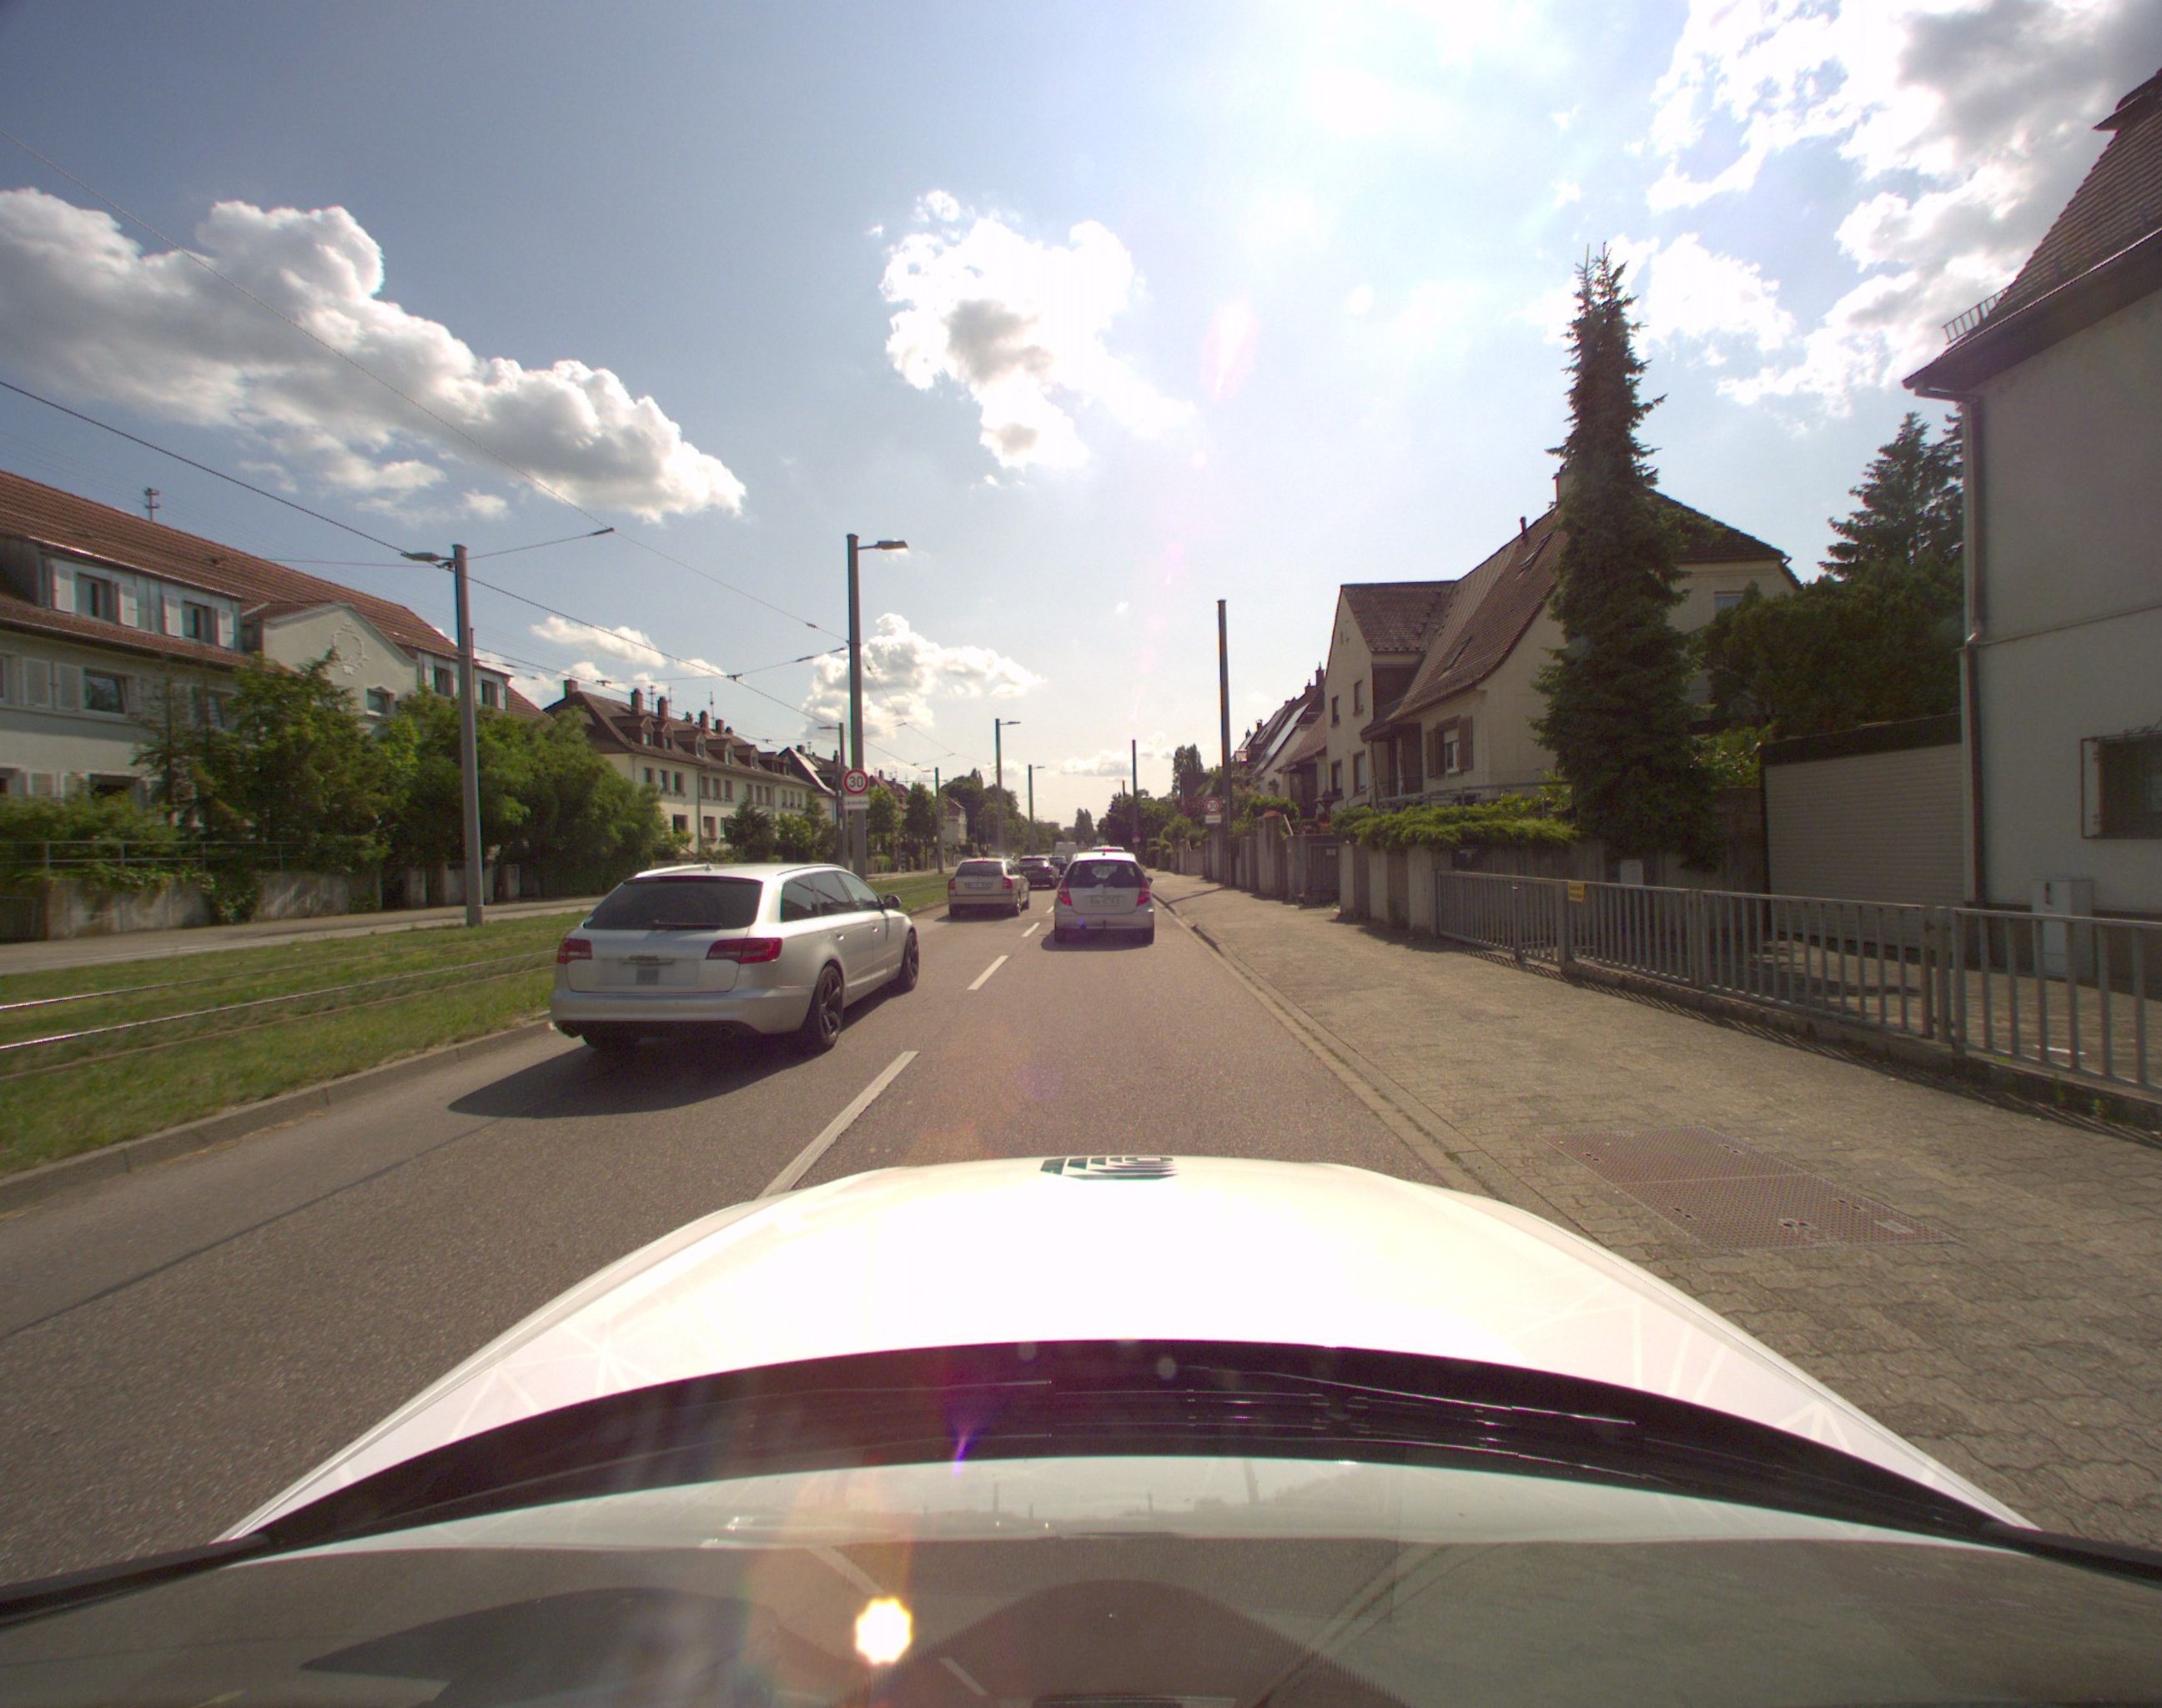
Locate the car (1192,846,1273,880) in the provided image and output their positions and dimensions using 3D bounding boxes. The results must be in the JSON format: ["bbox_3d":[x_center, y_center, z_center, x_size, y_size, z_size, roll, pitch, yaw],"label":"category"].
[{"bbox_3d":[8.249,0.484,44.707,3.977,1.684,1.998,-3,0,-3],"label":"car"}]

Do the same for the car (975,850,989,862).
[{"bbox_3d":[-19.308,0.349,158.996,1.908,2.330,4.566,0,0,3],"label":"car"}]

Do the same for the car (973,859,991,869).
[{"bbox_3d":[-15.143,1.540,125.162,1.908,1.477,4.566,0,0,3],"label":"car"}]

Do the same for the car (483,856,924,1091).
[{"bbox_3d":[-2.842,0.761,7.503,1.788,1.472,4.722,0,0,1],"label":"car"}]

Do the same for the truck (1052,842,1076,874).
[{"bbox_3d":[-1.372,0.312,68.362,1.846,2.552,5.853,0,0,0],"label":"truck"}]

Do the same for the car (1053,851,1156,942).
[{"bbox_3d":[0.404,0.725,15.660,1.724,1.517,4.016,0,0,0],"label":"car"}]

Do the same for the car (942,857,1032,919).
[{"bbox_3d":[-2.329,0.799,21.206,1.724,1.449,4.124,0,0,2],"label":"car"}]

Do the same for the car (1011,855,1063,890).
[{"bbox_3d":[-1.908,0.787,36.607,1.909,1.477,4.564,0,0,2],"label":"car"}]

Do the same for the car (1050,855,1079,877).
[{"bbox_3d":[-1.085,0.763,54.515,1.846,1.388,4.513,0,0,0],"label":"car"}]

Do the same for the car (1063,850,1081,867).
[{"bbox_3d":[-1.035,0.531,100.490,1.908,2.077,4.566,0,0,3],"label":"car"}]

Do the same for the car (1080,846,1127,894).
[{"bbox_3d":[0.893,0.613,32.193,1.723,1.762,4.018,0,0,2],"label":"car"}]
